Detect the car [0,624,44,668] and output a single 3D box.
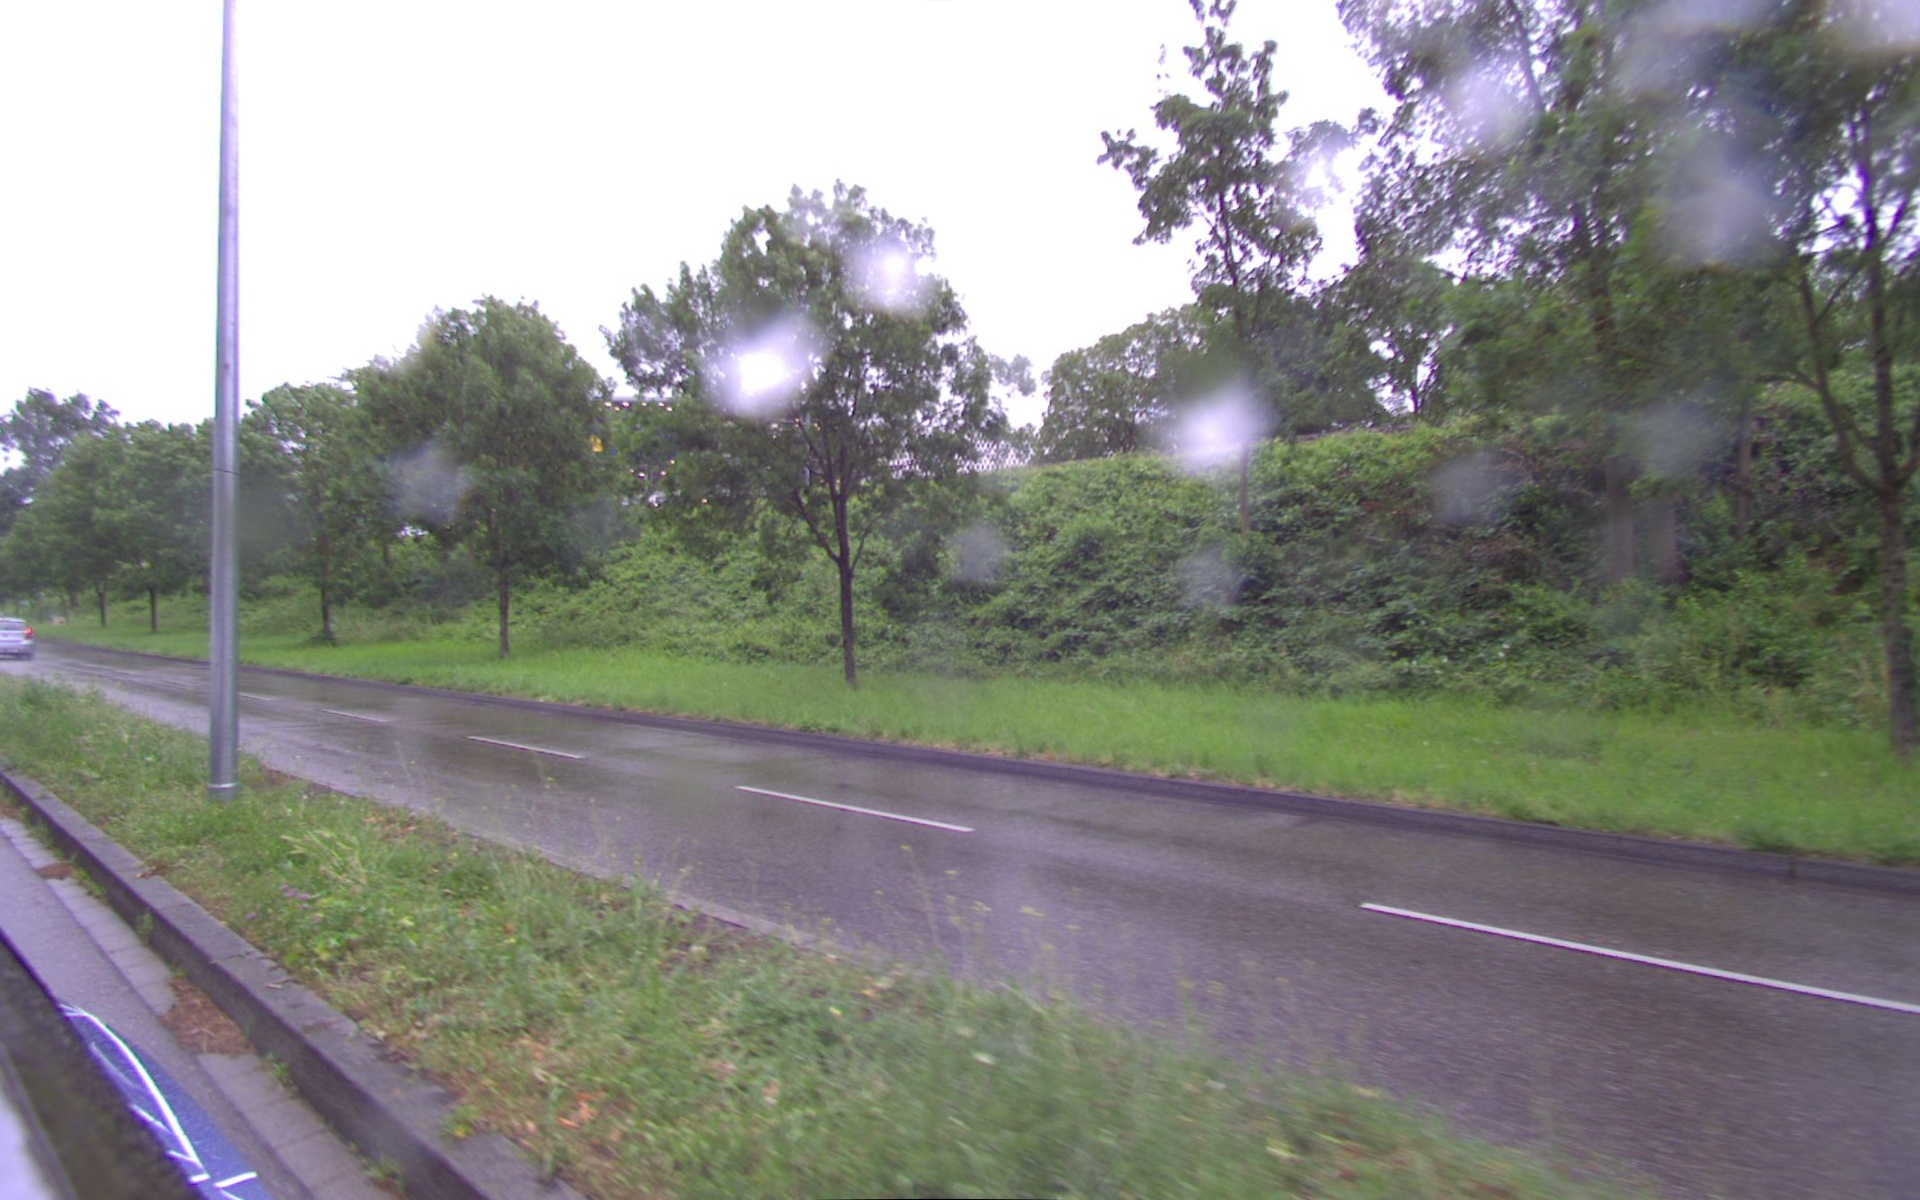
[{"bbox_3d":[-34.132,1.609,35.937,3.997,1.474,1.797,-1,-4,41],"label":"car"}]
